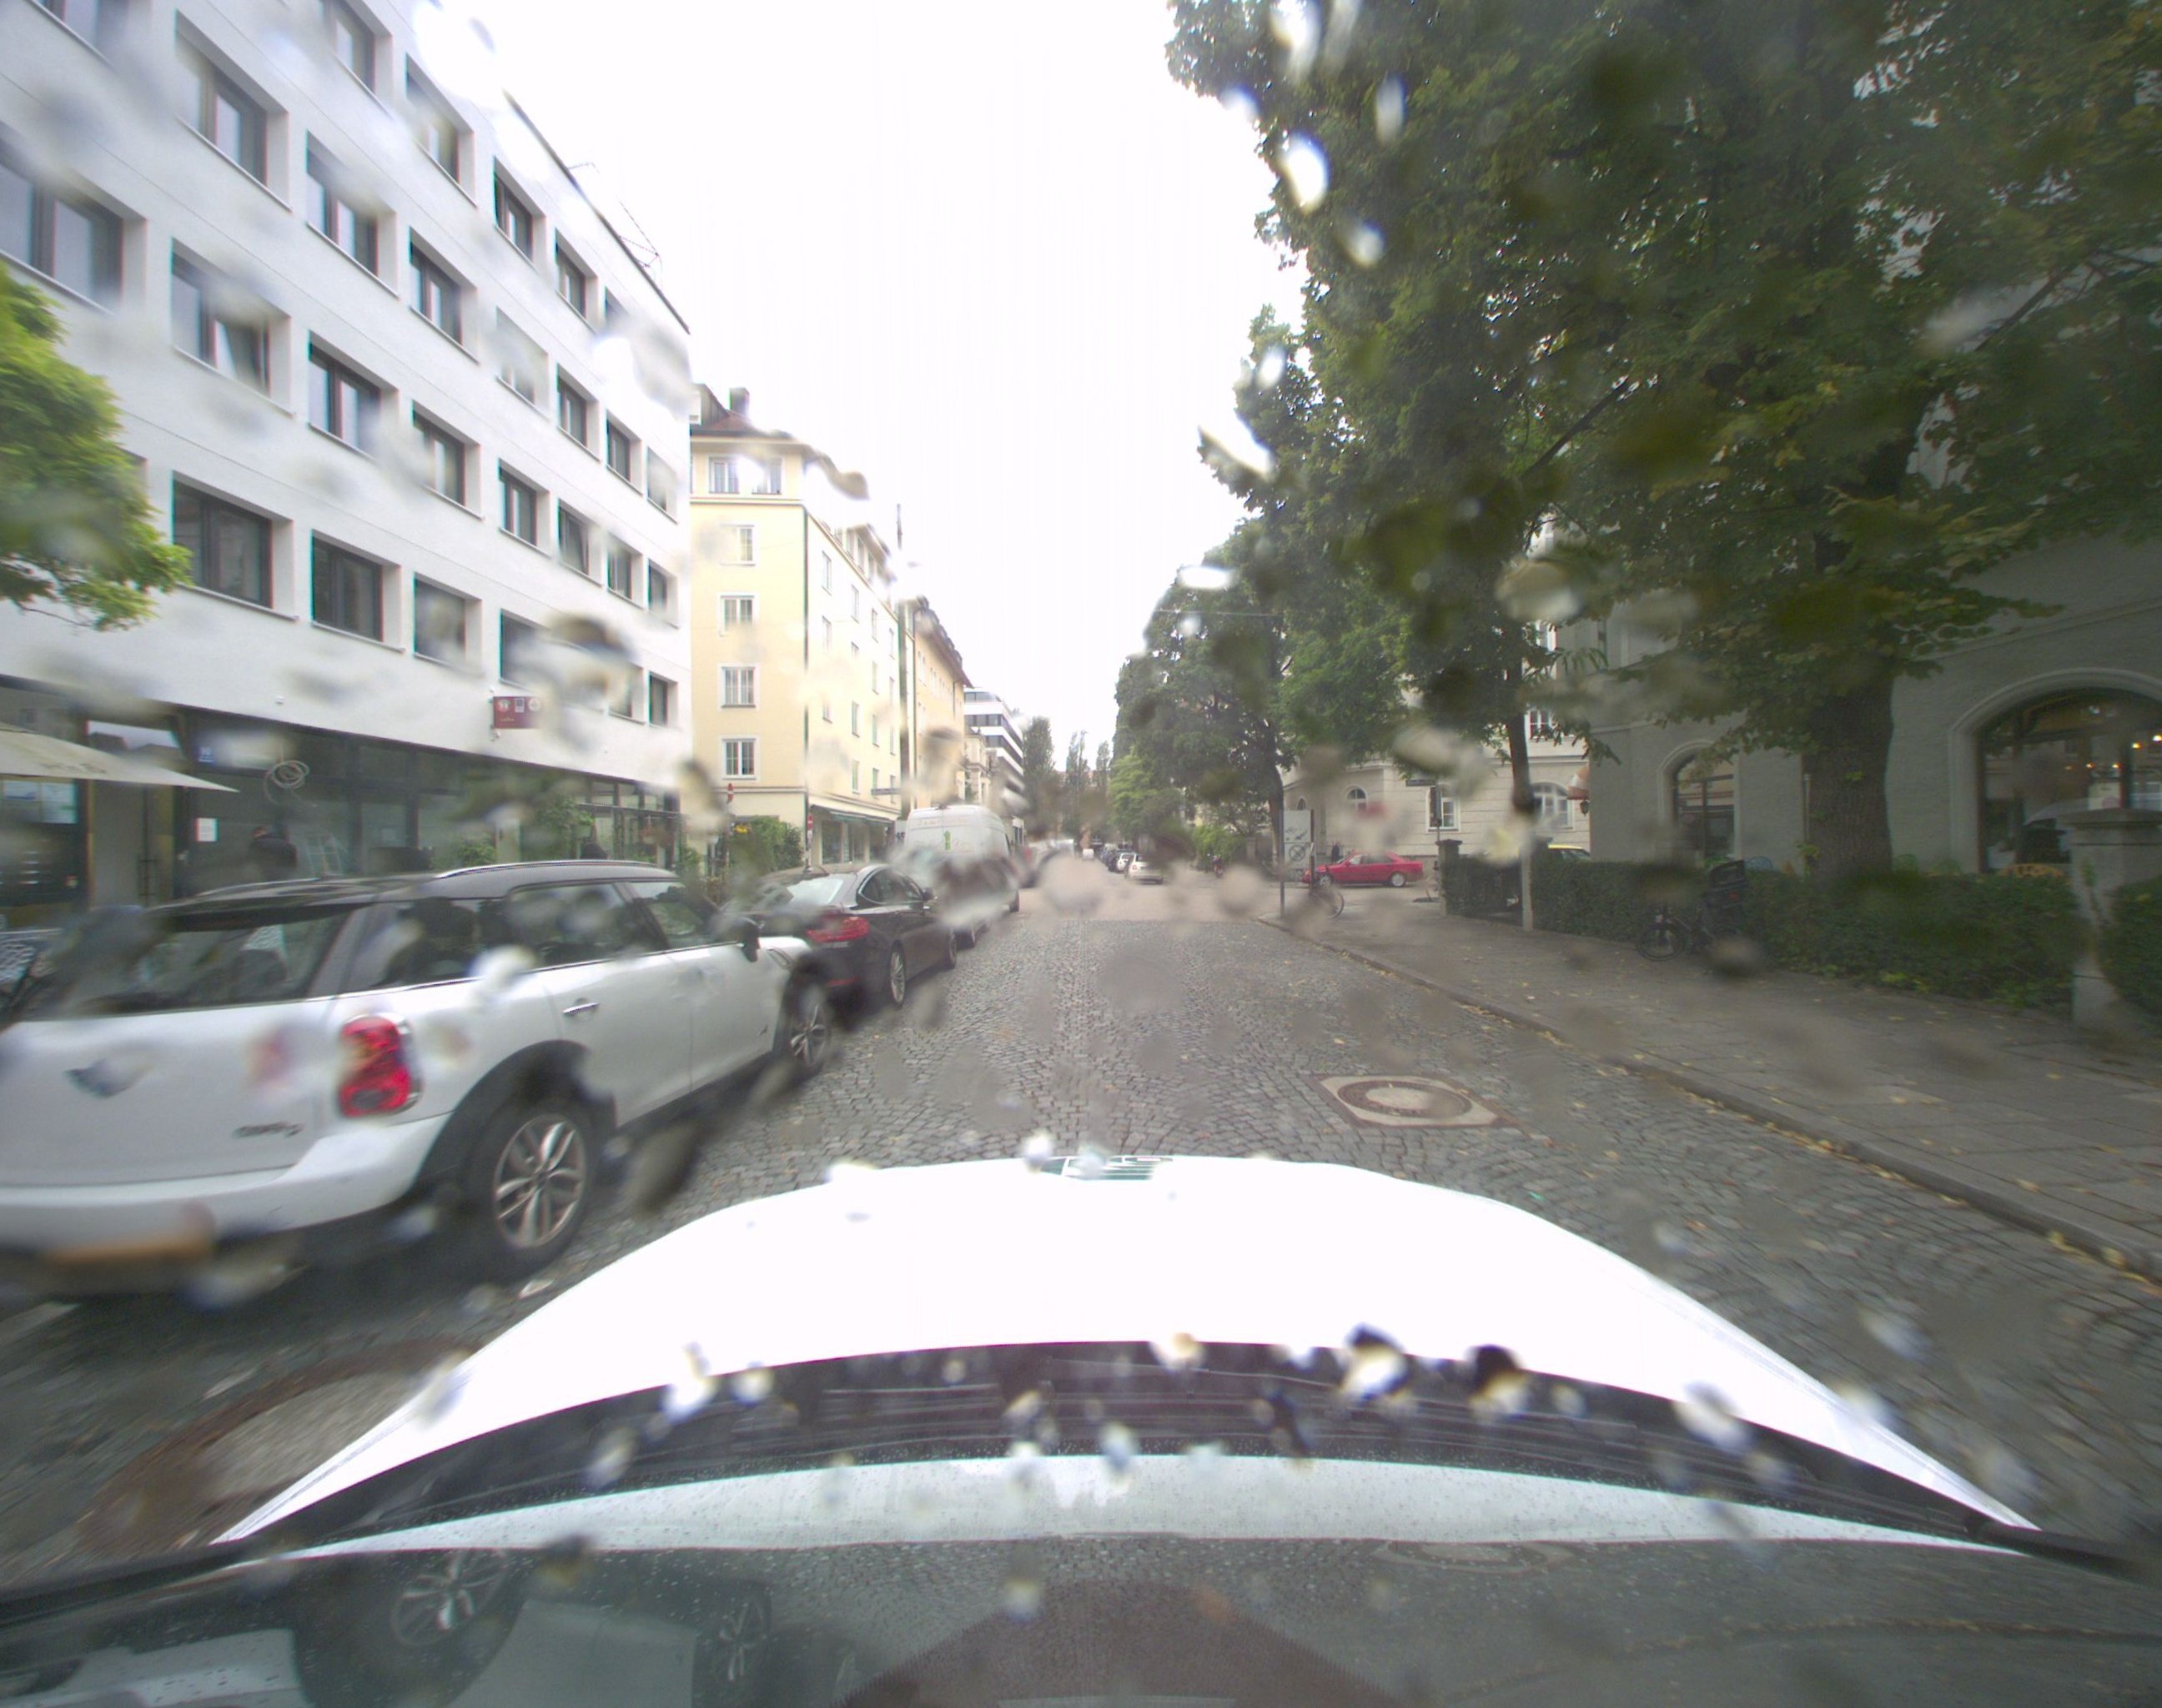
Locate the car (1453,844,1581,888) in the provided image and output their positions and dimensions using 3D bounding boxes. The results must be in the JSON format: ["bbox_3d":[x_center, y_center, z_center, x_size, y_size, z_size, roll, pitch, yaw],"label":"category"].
[{"bbox_3d":[16.091,0.444,30.178,3.867,1.521,1.568,-1,0,5],"label":"car"}]

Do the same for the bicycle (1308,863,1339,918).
[{"bbox_3d":[5.335,0.782,17.952,0.386,1.146,1.593,-1,0,7],"label":"bicycle"}]

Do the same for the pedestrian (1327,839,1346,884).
[{"bbox_3d":[10.728,0.303,34.207,0.492,1.876,0.741,0,-1,-4],"label":"pedestrian"}]

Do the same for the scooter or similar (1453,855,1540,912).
[{"bbox_3d":[8.743,0.627,17.203,1.588,1.172,0.407,-2,-1,23],"label":"scooter or similar"}]

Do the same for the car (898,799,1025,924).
[{"bbox_3d":[-2.743,0.163,20.233,1.969,2.574,5.797,-3,0,2],"label":"car"}]

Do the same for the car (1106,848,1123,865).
[{"bbox_3d":[4.067,0.269,99.774,1.794,1.949,4.859,2,0,0],"label":"car"}]

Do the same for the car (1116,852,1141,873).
[{"bbox_3d":[3.538,0.635,61.095,1.625,1.469,3.659,1,0,0],"label":"car"}]

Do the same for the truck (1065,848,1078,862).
[{"bbox_3d":[-1.546,0.150,133.076,1.987,2.346,4.068,0,0,0],"label":"truck"}]

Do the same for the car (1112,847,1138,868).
[{"bbox_3d":[3.524,0.292,66.193,1.869,1.673,5.490,0,0,0],"label":"car"}]

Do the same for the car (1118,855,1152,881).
[{"bbox_3d":[3.172,0.792,48.531,1.643,1.422,4.630,3,0,-1],"label":"car"}]

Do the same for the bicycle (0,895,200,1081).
[{"bbox_3d":[-7.325,0.914,5.614,0.359,1.175,1.912,0,0,3],"label":"bicycle"}]

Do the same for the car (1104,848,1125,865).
[{"bbox_3d":[3.555,0.283,86.731,1.957,1.759,4.953,0,0,0],"label":"car"}]

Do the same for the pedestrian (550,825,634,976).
[{"bbox_3d":[-6.226,0.575,10.407,0.613,1.840,0.812,-1,-1,-6],"label":"pedestrian"}]

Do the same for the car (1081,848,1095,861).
[{"bbox_3d":[1.064,0.104,119.765,1.989,1.936,4.001,-1,0,2],"label":"car"}]

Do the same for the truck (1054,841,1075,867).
[{"bbox_3d":[-2.080,-0.008,104.331,2.501,3.031,6.382,-3,0,-1],"label":"truck"}]

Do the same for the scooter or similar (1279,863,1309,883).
[{"bbox_3d":[9.369,0.829,35.882,1.176,0.848,0.927,-1,0,10],"label":"scooter or similar"}]

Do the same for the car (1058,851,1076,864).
[{"bbox_3d":[-1.600,0.393,92.801,1.934,1.459,4.056,0,0,-1],"label":"car"}]

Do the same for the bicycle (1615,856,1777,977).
[{"bbox_3d":[6.850,0.644,9.185,0.426,1.198,1.731,-6,-1,1],"label":"bicycle"}]

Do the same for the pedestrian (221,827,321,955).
[{"bbox_3d":[-10.936,0.472,11.022,0.553,1.660,0.784,1,1,3],"label":"pedestrian"}]

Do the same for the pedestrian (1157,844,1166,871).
[{"bbox_3d":[5.668,0.263,57.407,0.572,1.850,0.683,-1,0,8],"label":"pedestrian"}]

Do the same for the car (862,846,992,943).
[{"bbox_3d":[-2.596,0.641,14.585,1.657,1.482,3.979,0,0,-2],"label":"car"}]

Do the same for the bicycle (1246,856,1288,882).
[{"bbox_3d":[8.445,0.668,36.941,1.825,1.124,0.564,-1,0,12],"label":"bicycle"}]

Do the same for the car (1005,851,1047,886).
[{"bbox_3d":[-2.661,0.684,40.448,1.847,1.586,4.745,0,0,-1],"label":"car"}]

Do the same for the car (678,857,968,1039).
[{"bbox_3d":[-2.557,0.826,9.315,1.719,1.464,4.474,-3,0,1],"label":"car"}]

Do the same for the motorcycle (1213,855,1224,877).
[{"bbox_3d":[6.941,0.608,41.119,0.361,1.090,1.404,0,0,3],"label":"motorcycle"}]

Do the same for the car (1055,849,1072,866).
[{"bbox_3d":[-1.876,0.379,87.432,1.768,1.717,4.389,0,0,-1],"label":"car"}]

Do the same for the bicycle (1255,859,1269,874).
[{"bbox_3d":[10.329,0.701,46.519,0.489,0.812,2.276,-1,0,5],"label":"bicycle"}]

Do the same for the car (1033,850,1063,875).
[{"bbox_3d":[-2.259,0.588,56.822,1.767,1.647,4.392,0,0,1],"label":"car"}]

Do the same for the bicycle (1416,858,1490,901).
[{"bbox_3d":[9.946,0.701,21.830,1.594,1.069,0.739,-3,-4,3],"label":"bicycle"}]

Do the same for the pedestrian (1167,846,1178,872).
[{"bbox_3d":[6.502,0.338,57.786,0.629,1.808,0.657,0,-1,-13],"label":"pedestrian"}]

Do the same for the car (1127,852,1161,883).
[{"bbox_3d":[3.074,0.656,40.422,1.496,1.471,3.796,1,0,1],"label":"car"}]

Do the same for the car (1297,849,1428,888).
[{"bbox_3d":[10.660,0.527,31.108,4.442,1.358,1.764,-1,0,7],"label":"car"}]

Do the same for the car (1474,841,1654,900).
[{"bbox_3d":[13.719,0.457,23.386,4.048,1.597,1.912,-1,0,11],"label":"car"}]

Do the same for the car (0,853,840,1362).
[{"bbox_3d":[-2.790,0.764,4.336,1.686,1.504,3.780,-1,0,3],"label":"car"}]

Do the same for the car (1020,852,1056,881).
[{"bbox_3d":[-2.357,0.687,45.490,1.768,1.536,4.540,0,0,0],"label":"car"}]

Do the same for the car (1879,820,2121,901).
[{"bbox_3d":[23.758,0.179,21.219,3.894,1.969,1.780,-1,0,11],"label":"car"}]

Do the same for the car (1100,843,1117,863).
[{"bbox_3d":[3.570,-0.129,105.144,1.889,2.426,5.610,3,1,0],"label":"car"}]

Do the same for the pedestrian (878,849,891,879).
[{"bbox_3d":[-10.803,0.551,44.737,0.520,1.642,0.629,0,-1,0],"label":"pedestrian"}]
